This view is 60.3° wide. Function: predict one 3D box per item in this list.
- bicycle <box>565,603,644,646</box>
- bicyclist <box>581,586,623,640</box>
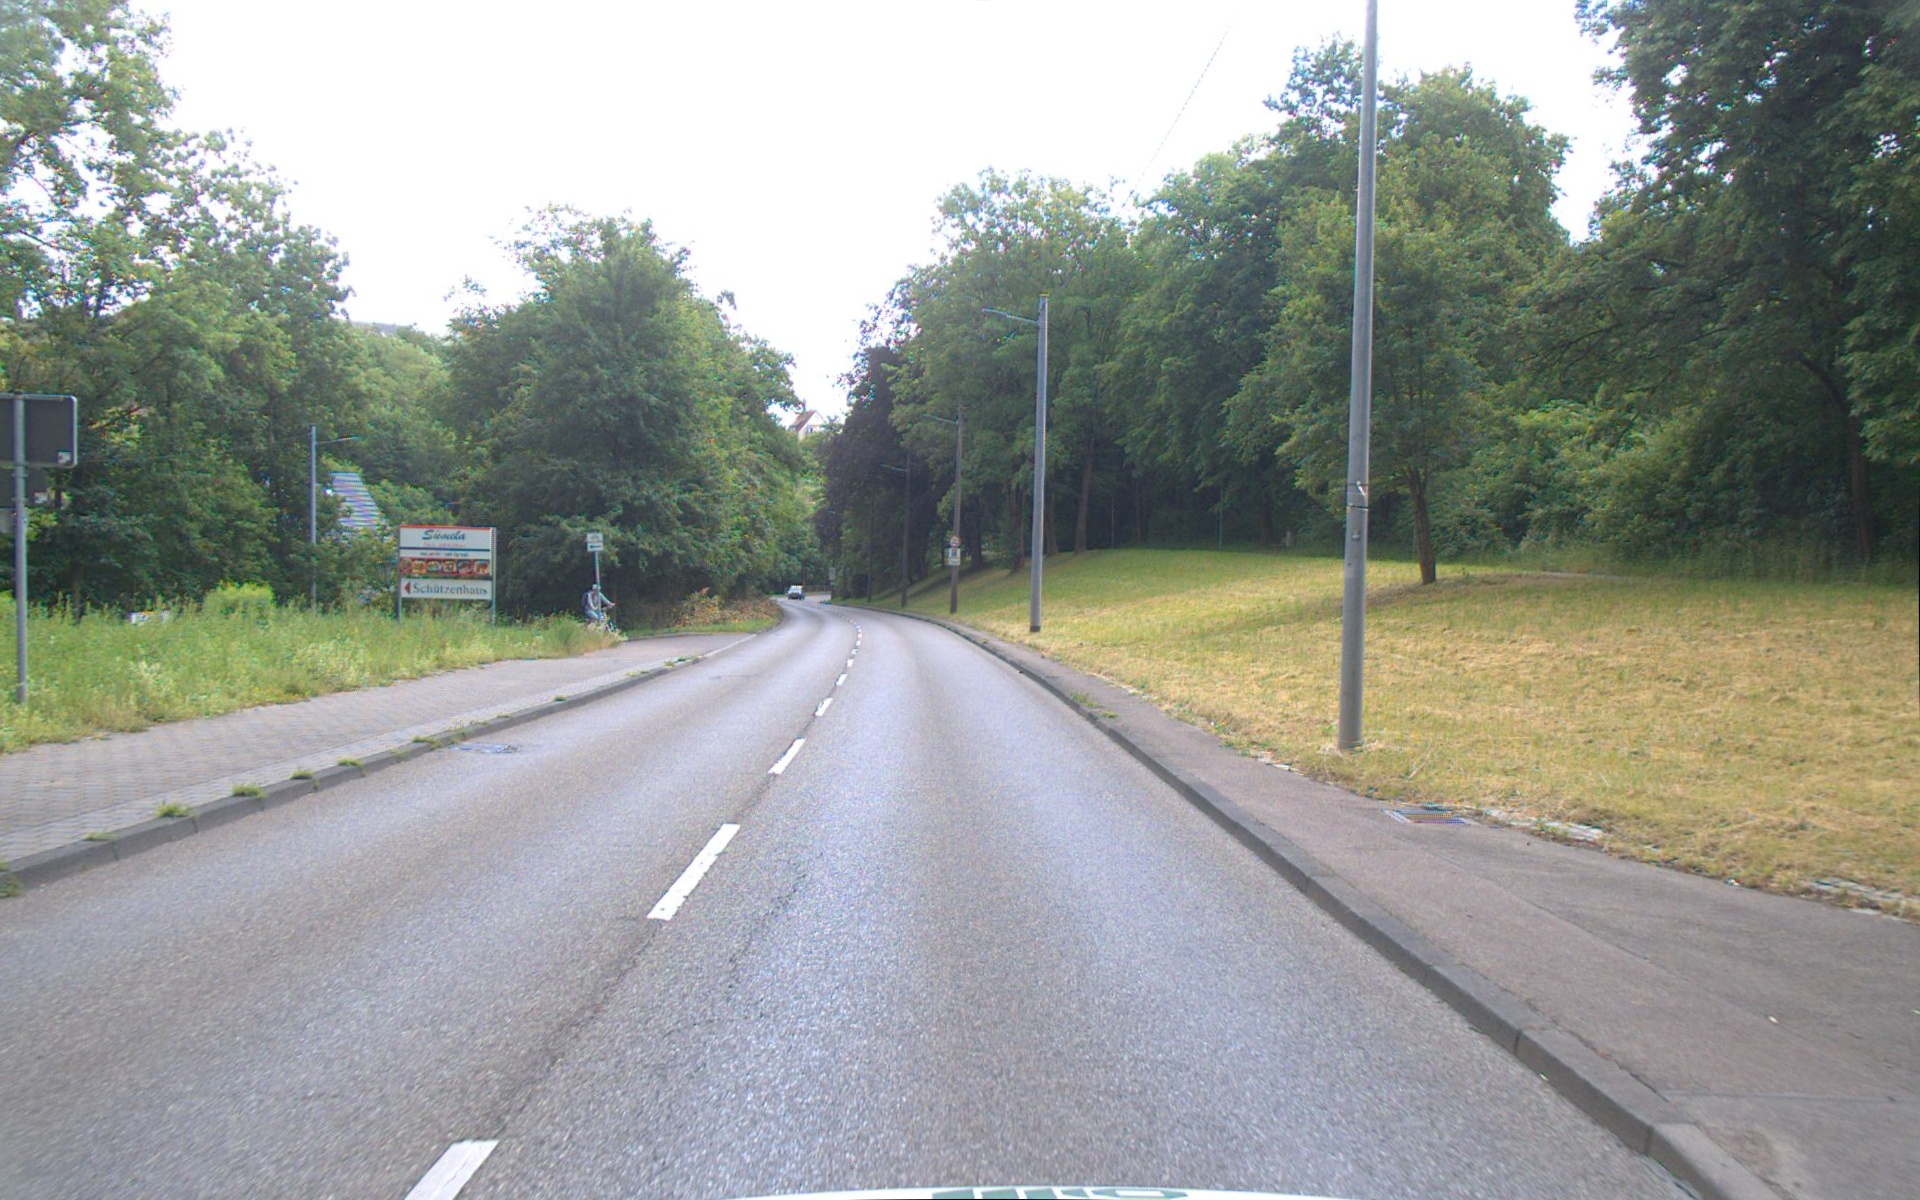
[{"bbox_3d":[-9.685,0.658,45.026,2.399,1.054,0.826,2,-1,42],"label":"bicycle"},{"bbox_3d":[-9.772,0.367,45.137,0.768,1.452,0.824,1,-1,42],"label":"bicyclist"}]
